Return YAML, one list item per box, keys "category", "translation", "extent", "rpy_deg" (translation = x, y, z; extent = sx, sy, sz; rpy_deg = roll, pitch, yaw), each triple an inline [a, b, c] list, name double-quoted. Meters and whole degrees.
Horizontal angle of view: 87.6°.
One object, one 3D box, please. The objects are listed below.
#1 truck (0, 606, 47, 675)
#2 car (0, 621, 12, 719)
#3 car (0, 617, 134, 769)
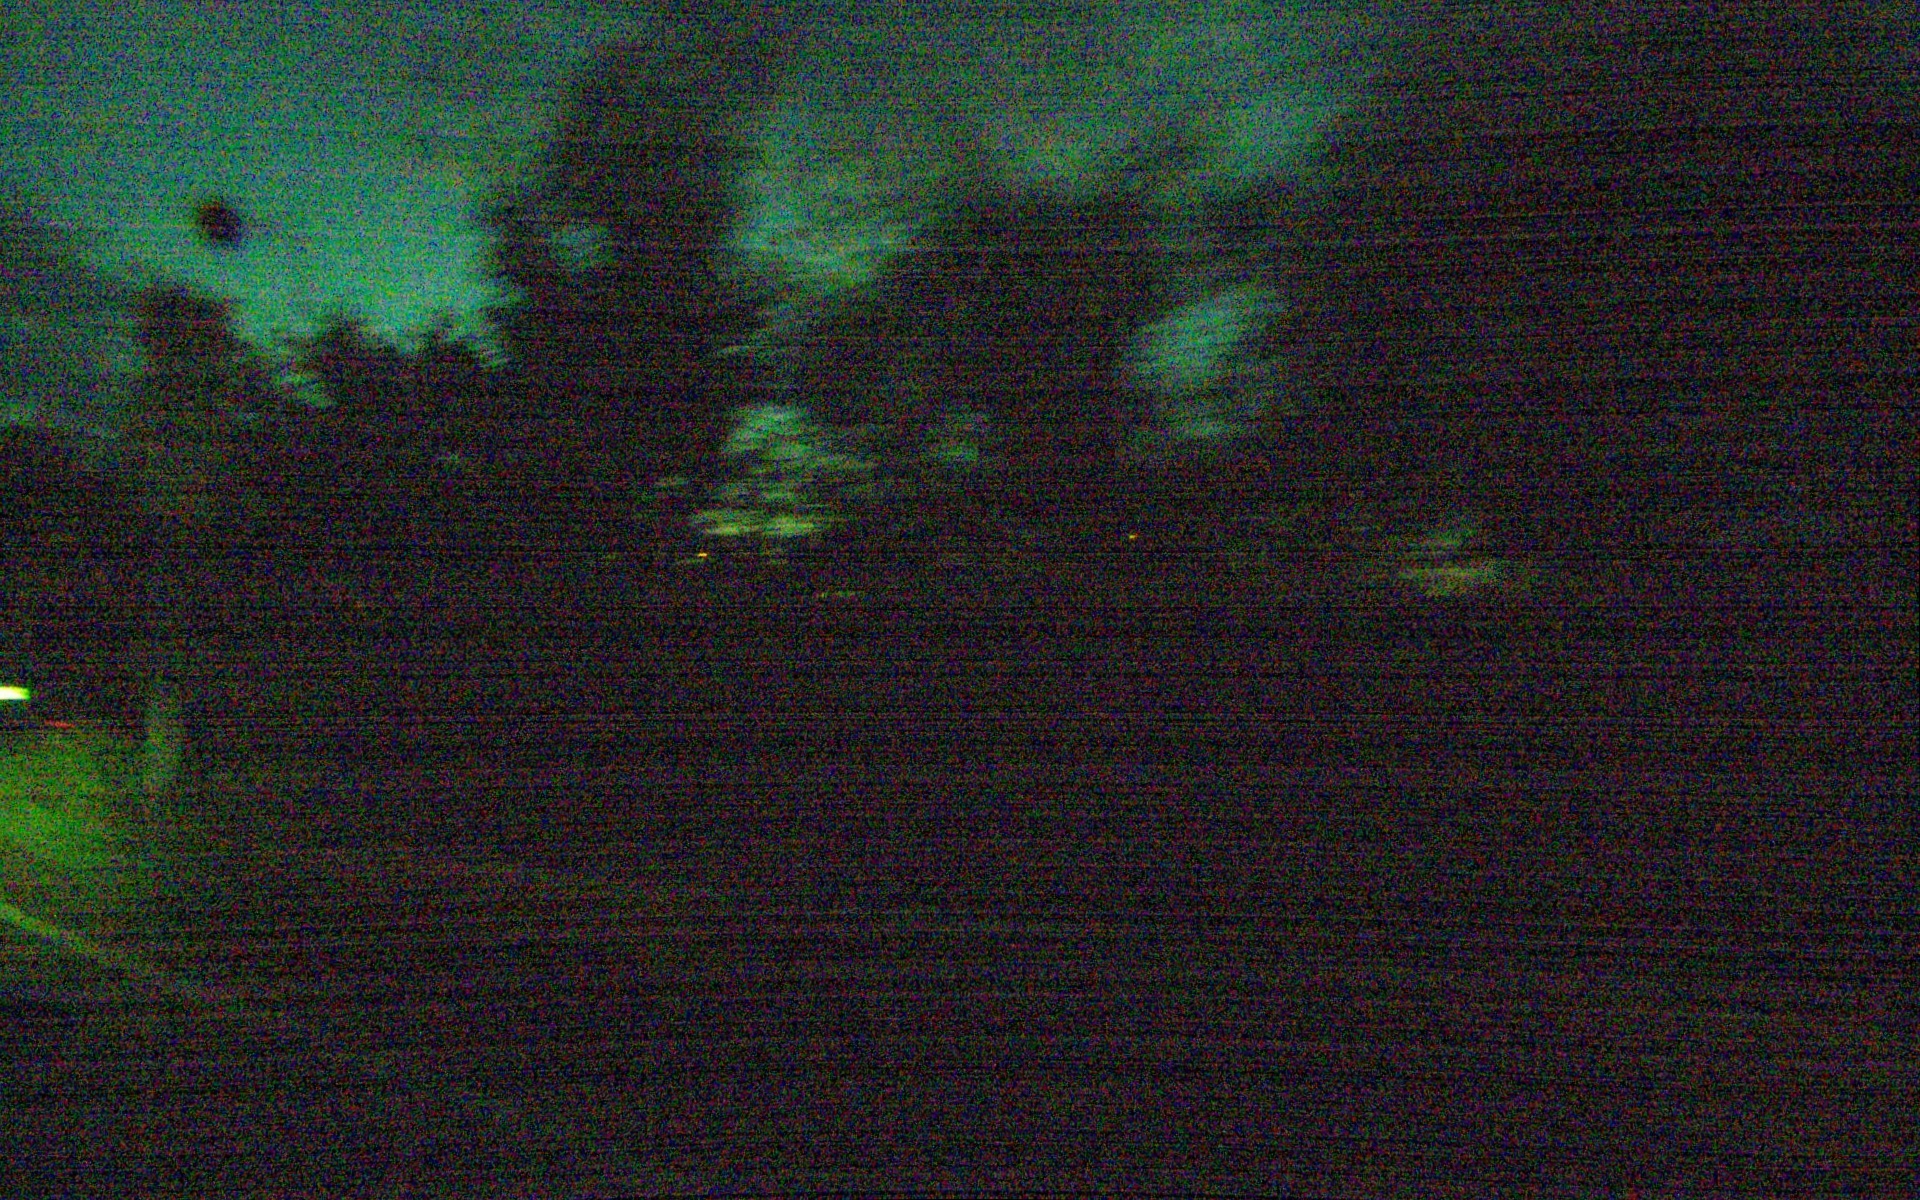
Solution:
- category: "truck"
  translation: [-35.323, 1.440, 35.790]
  extent: [7.641, 2.312, 2.372]
  rpy_deg: [-1, -3, 35]
- category: "car"
  translation: [-17.527, 1.110, 16.574]
  extent: [3.947, 1.571, 1.930]
  rpy_deg: [-1, -3, 36]
- category: "car"
  translation: [-11.686, 0.974, 11.627]
  extent: [4.265, 1.571, 1.991]
  rpy_deg: [0, -3, 33]
